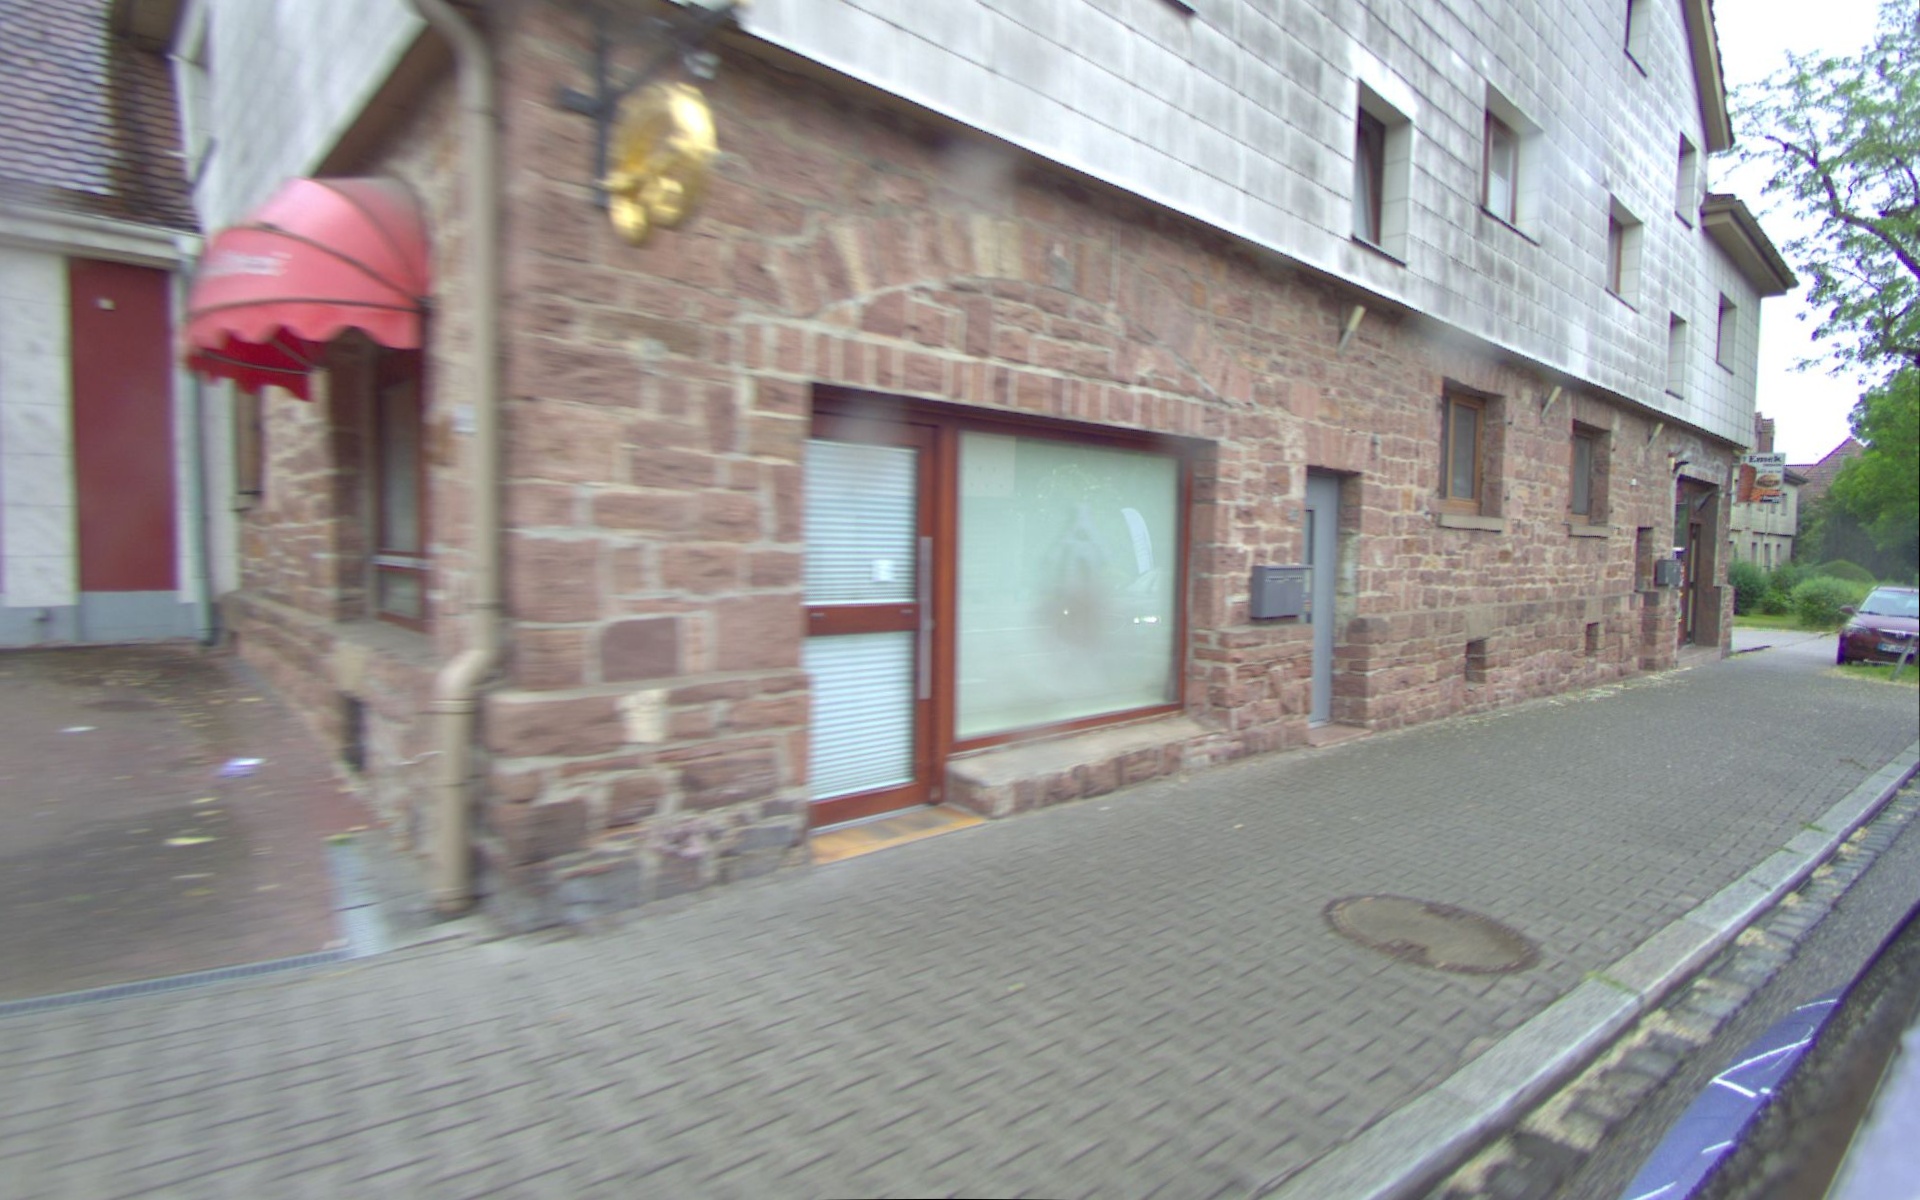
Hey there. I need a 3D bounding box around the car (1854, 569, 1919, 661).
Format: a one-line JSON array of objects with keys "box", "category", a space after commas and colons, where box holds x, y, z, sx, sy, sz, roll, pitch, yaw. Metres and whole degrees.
[{"box": [17.164, 0.285, 17.976, 3.693, 1.523, 1.612, 2, 0, -44], "category": "car"}]

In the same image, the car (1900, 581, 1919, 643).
[{"box": [24.676, 0.322, 24.932, 3.930, 1.441, 1.720, -1, 5, -41], "category": "car"}]
